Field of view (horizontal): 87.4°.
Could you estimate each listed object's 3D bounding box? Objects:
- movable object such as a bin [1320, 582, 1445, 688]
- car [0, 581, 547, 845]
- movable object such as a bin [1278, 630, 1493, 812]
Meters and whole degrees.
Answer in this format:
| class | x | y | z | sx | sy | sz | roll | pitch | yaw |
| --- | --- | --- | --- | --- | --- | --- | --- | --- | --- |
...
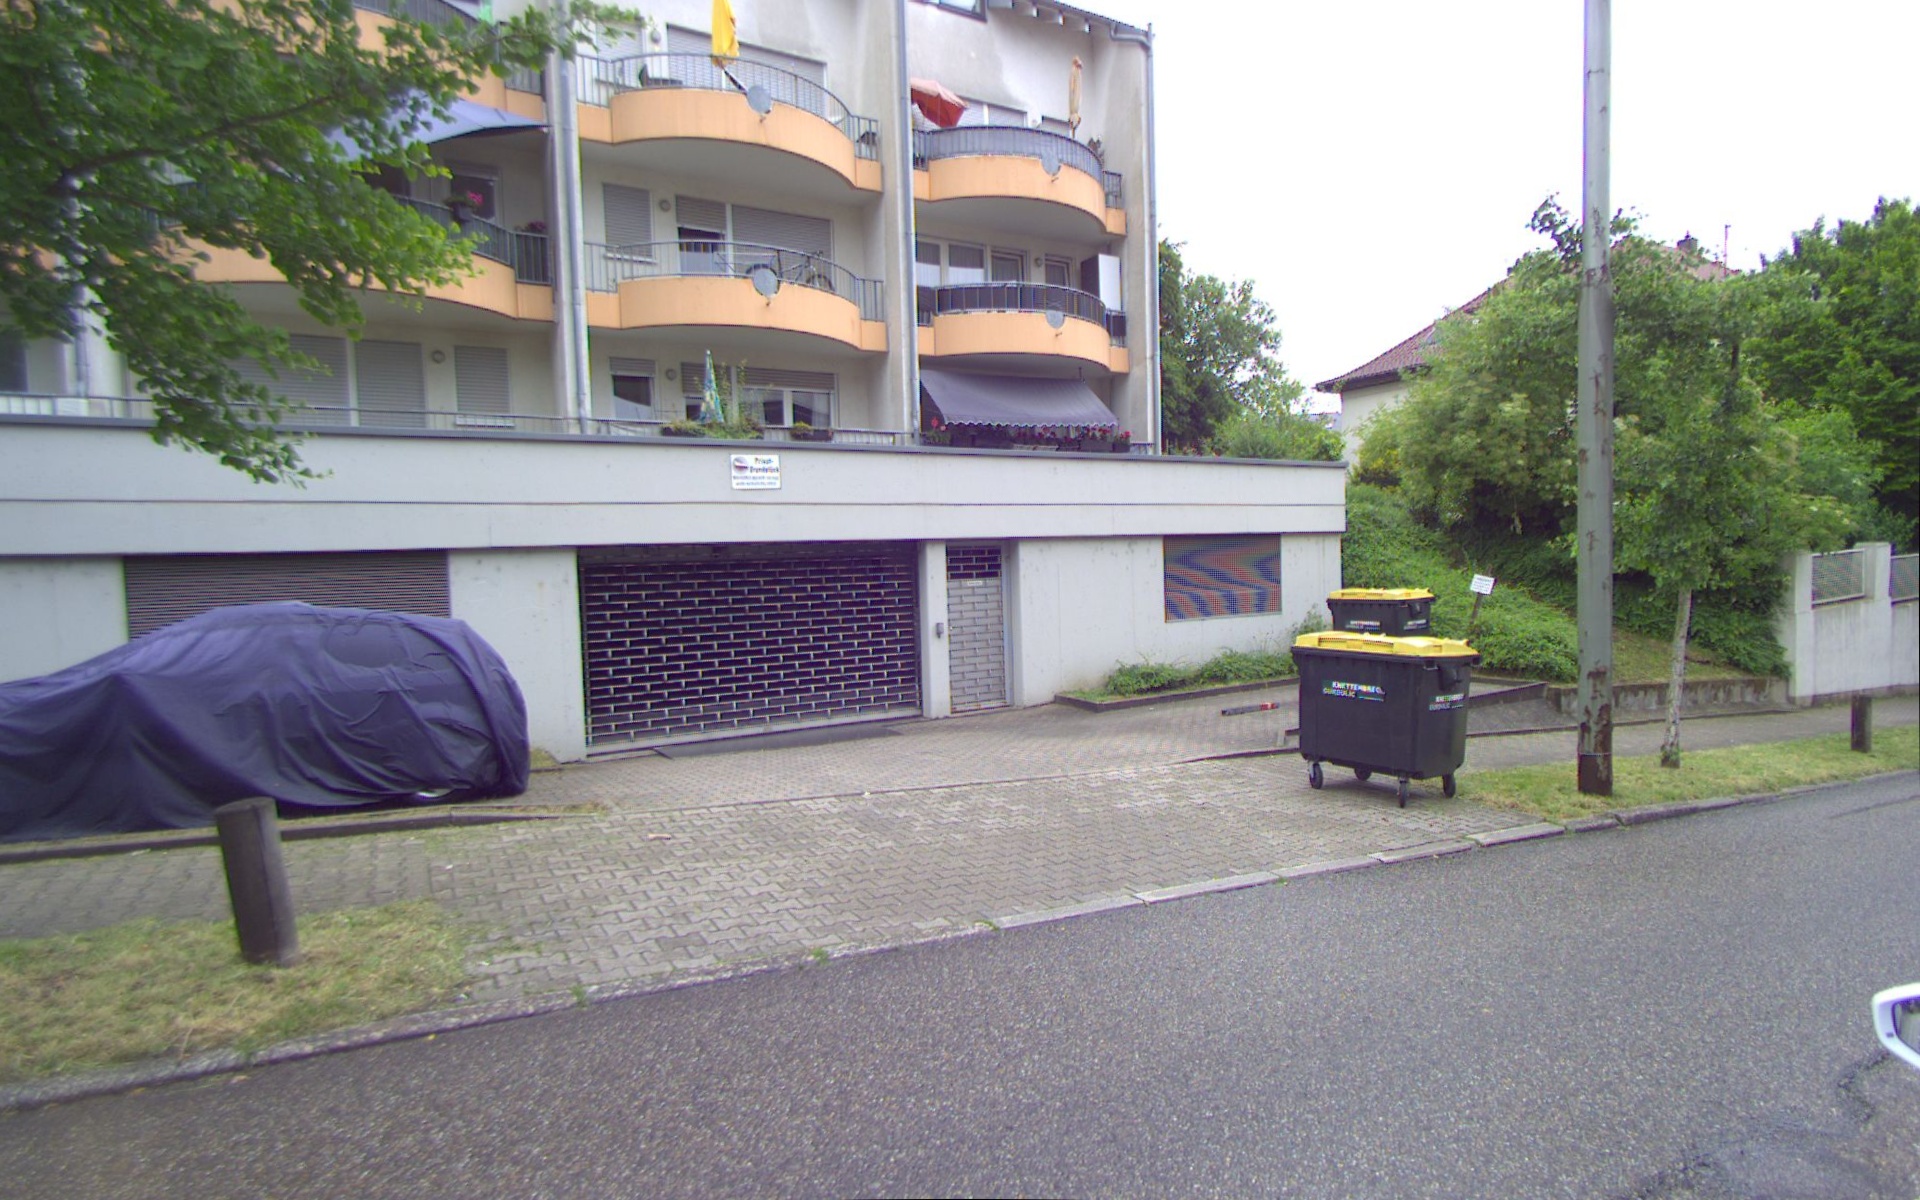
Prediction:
| class | x | y | z | sx | sy | sz | roll | pitch | yaw |
| --- | --- | --- | --- | --- | --- | --- | --- | --- | --- |
| movable object such as a bin | 6.345 | 0.485 | 15.107 | 1.215 | 1.383 | 1.288 | -7 | 6 | -36 |
| car | -5.305 | 0.745 | 7.327 | 4.050 | 1.581 | 1.770 | 1 | -4 | -31 |
| movable object such as a bin | 3.627 | 0.960 | 8.600 | 1.145 | 1.324 | 1.288 | 0 | 1 | -38 |
